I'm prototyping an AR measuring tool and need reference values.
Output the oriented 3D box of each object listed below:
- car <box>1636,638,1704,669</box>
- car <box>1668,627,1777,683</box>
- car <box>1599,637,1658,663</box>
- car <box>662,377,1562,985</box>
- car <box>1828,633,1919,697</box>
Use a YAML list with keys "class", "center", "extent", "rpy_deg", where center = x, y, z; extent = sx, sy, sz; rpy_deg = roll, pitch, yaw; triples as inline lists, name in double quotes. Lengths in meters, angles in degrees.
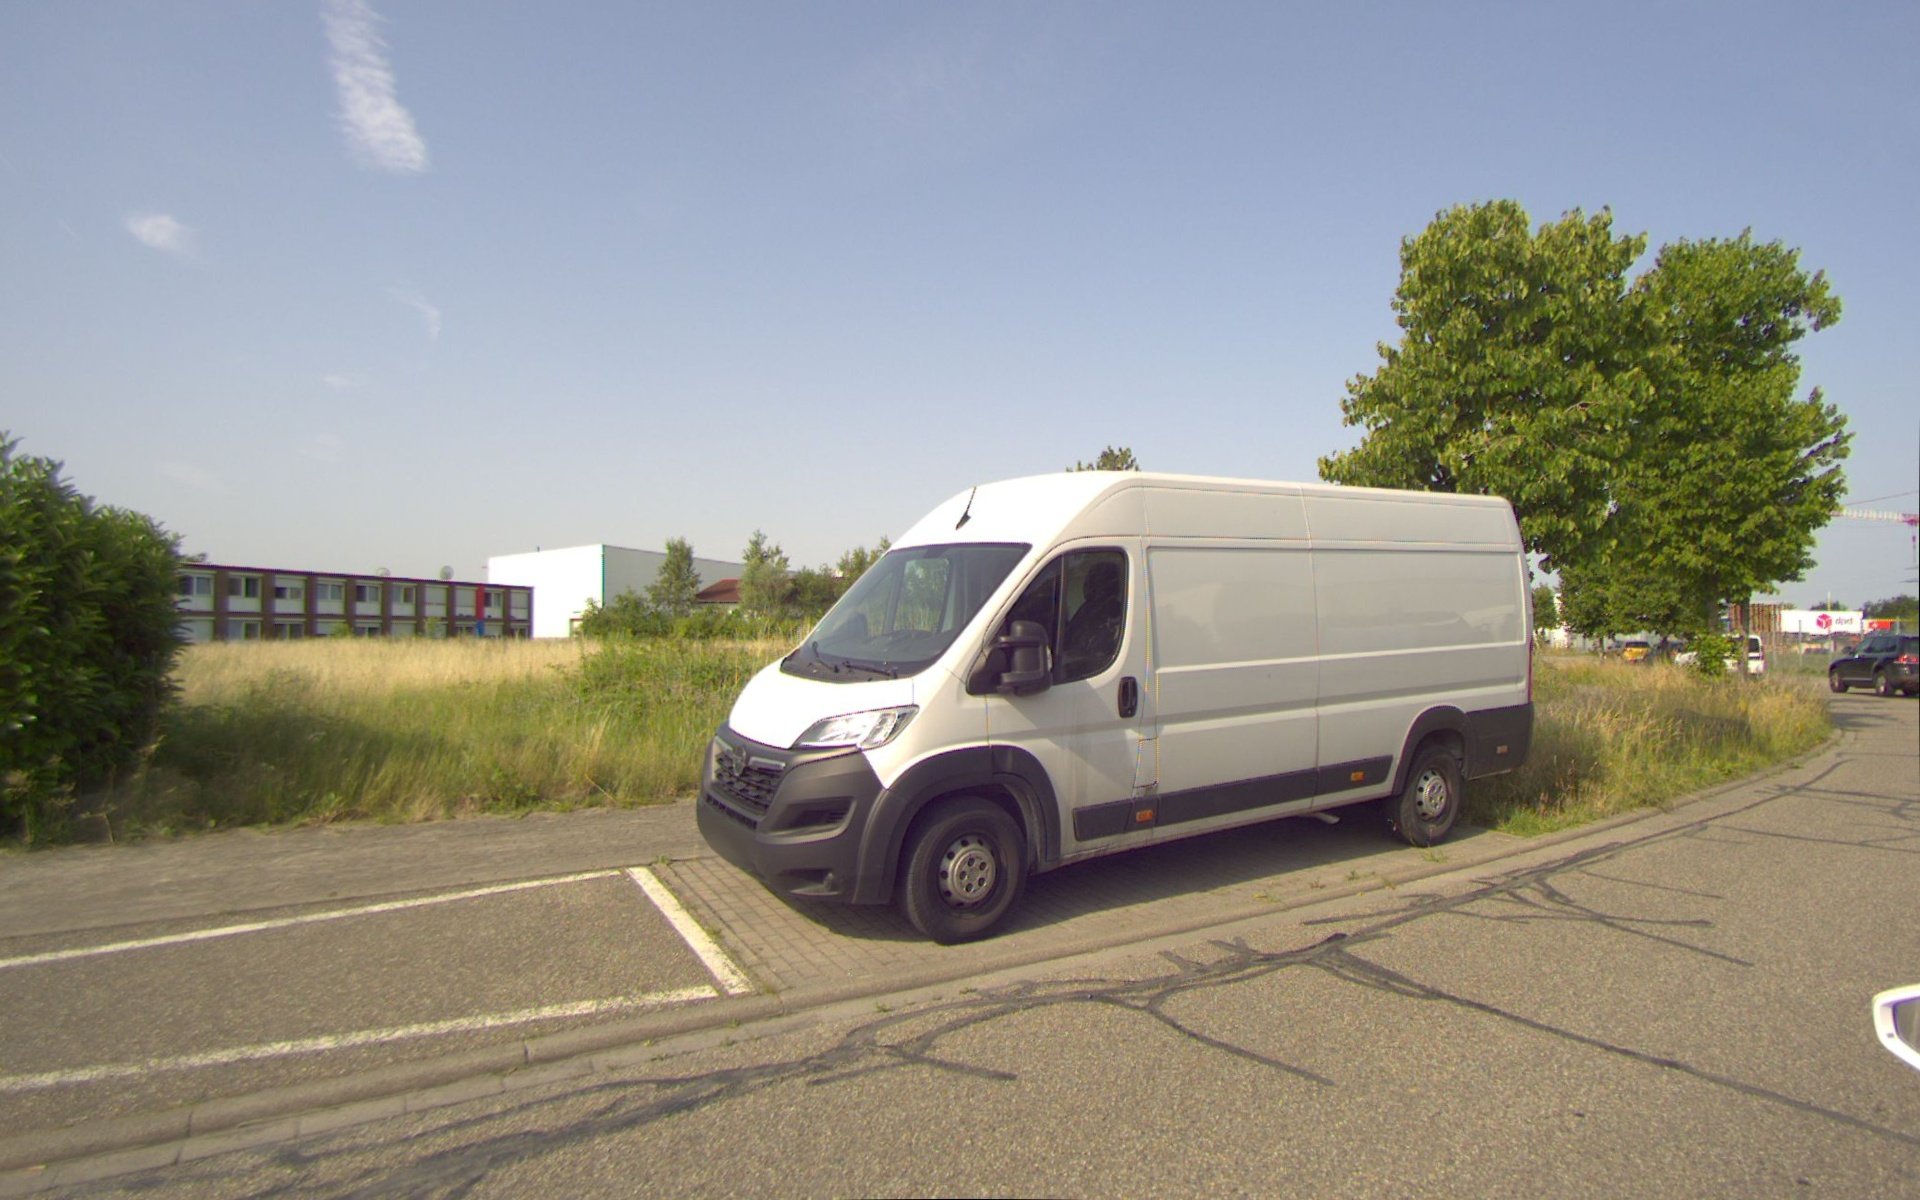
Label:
- class: "car"
  center: [37.883, 2.819, 53.695]
  extent: [1.686, 1.535, 4.006]
  rpy_deg: [-2, -3, 16]
- class: "car"
  center: [30.724, 2.196, 40.647]
  extent: [2.086, 2.138, 4.626]
  rpy_deg: [0, -2, 19]
- class: "car"
  center: [39.192, 2.906, 59.008]
  extent: [1.686, 1.474, 4.189]
  rpy_deg: [-2, -3, 17]
- class: "car"
  center: [1.455, 0.400, 6.999]
  extent: [6.434, 2.630, 2.090]
  rpy_deg: [1, 0, -33]
- class: "car"
  center: [25.447, 1.731, 27.235]
  extent: [1.851, 1.607, 4.110]
  rpy_deg: [-1, -3, 26]
